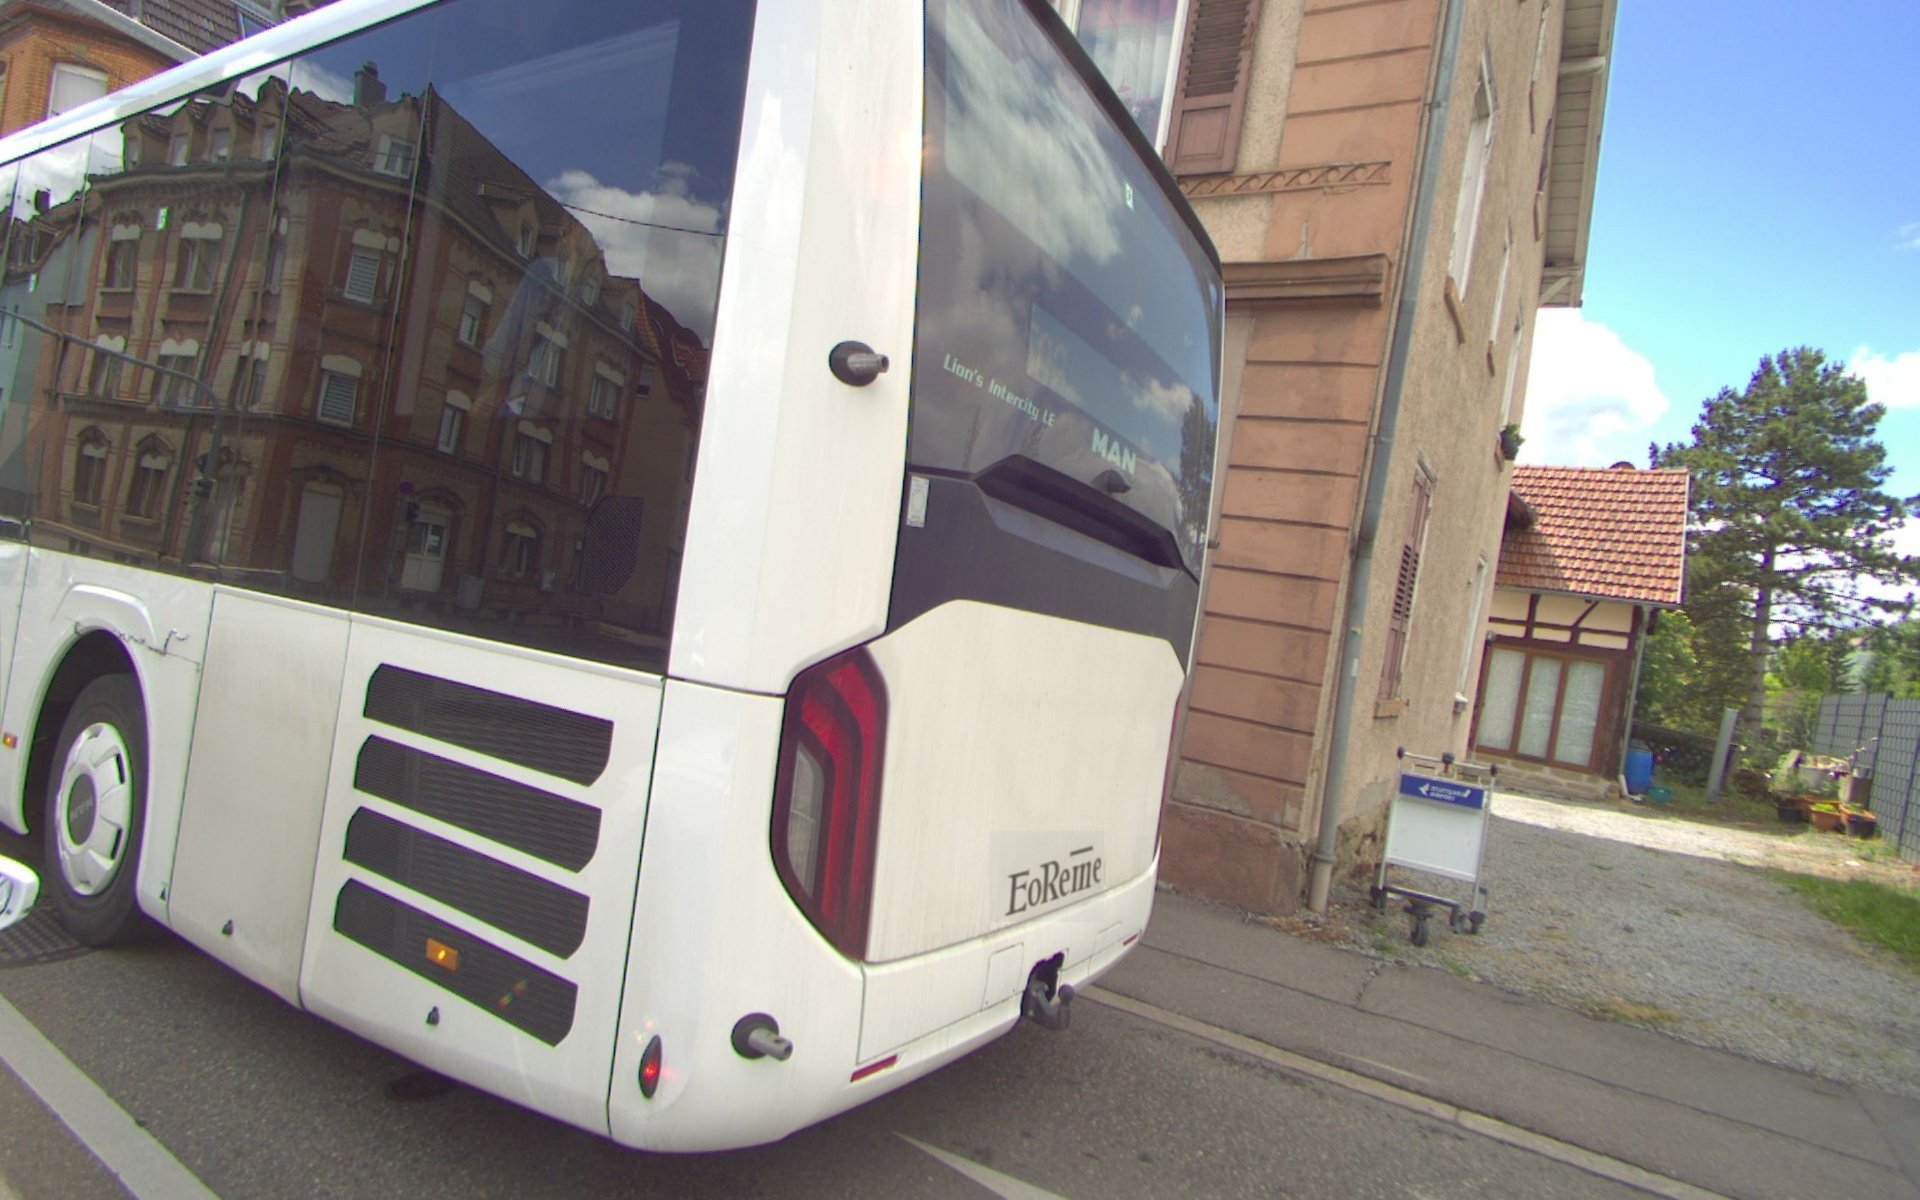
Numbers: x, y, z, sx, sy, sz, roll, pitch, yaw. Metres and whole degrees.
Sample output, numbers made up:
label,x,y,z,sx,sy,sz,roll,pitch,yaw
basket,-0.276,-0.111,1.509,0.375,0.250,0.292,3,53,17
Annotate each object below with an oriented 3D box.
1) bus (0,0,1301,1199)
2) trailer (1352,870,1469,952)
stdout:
label,x,y,z,sx,sy,sz,roll,pitch,yaw
bus,-4.721,-0.692,6.149,12.283,3.551,2.909,6,-2,32
trailer,2.589,1.787,5.800,0.354,0.324,0.473,7,-1,-23
